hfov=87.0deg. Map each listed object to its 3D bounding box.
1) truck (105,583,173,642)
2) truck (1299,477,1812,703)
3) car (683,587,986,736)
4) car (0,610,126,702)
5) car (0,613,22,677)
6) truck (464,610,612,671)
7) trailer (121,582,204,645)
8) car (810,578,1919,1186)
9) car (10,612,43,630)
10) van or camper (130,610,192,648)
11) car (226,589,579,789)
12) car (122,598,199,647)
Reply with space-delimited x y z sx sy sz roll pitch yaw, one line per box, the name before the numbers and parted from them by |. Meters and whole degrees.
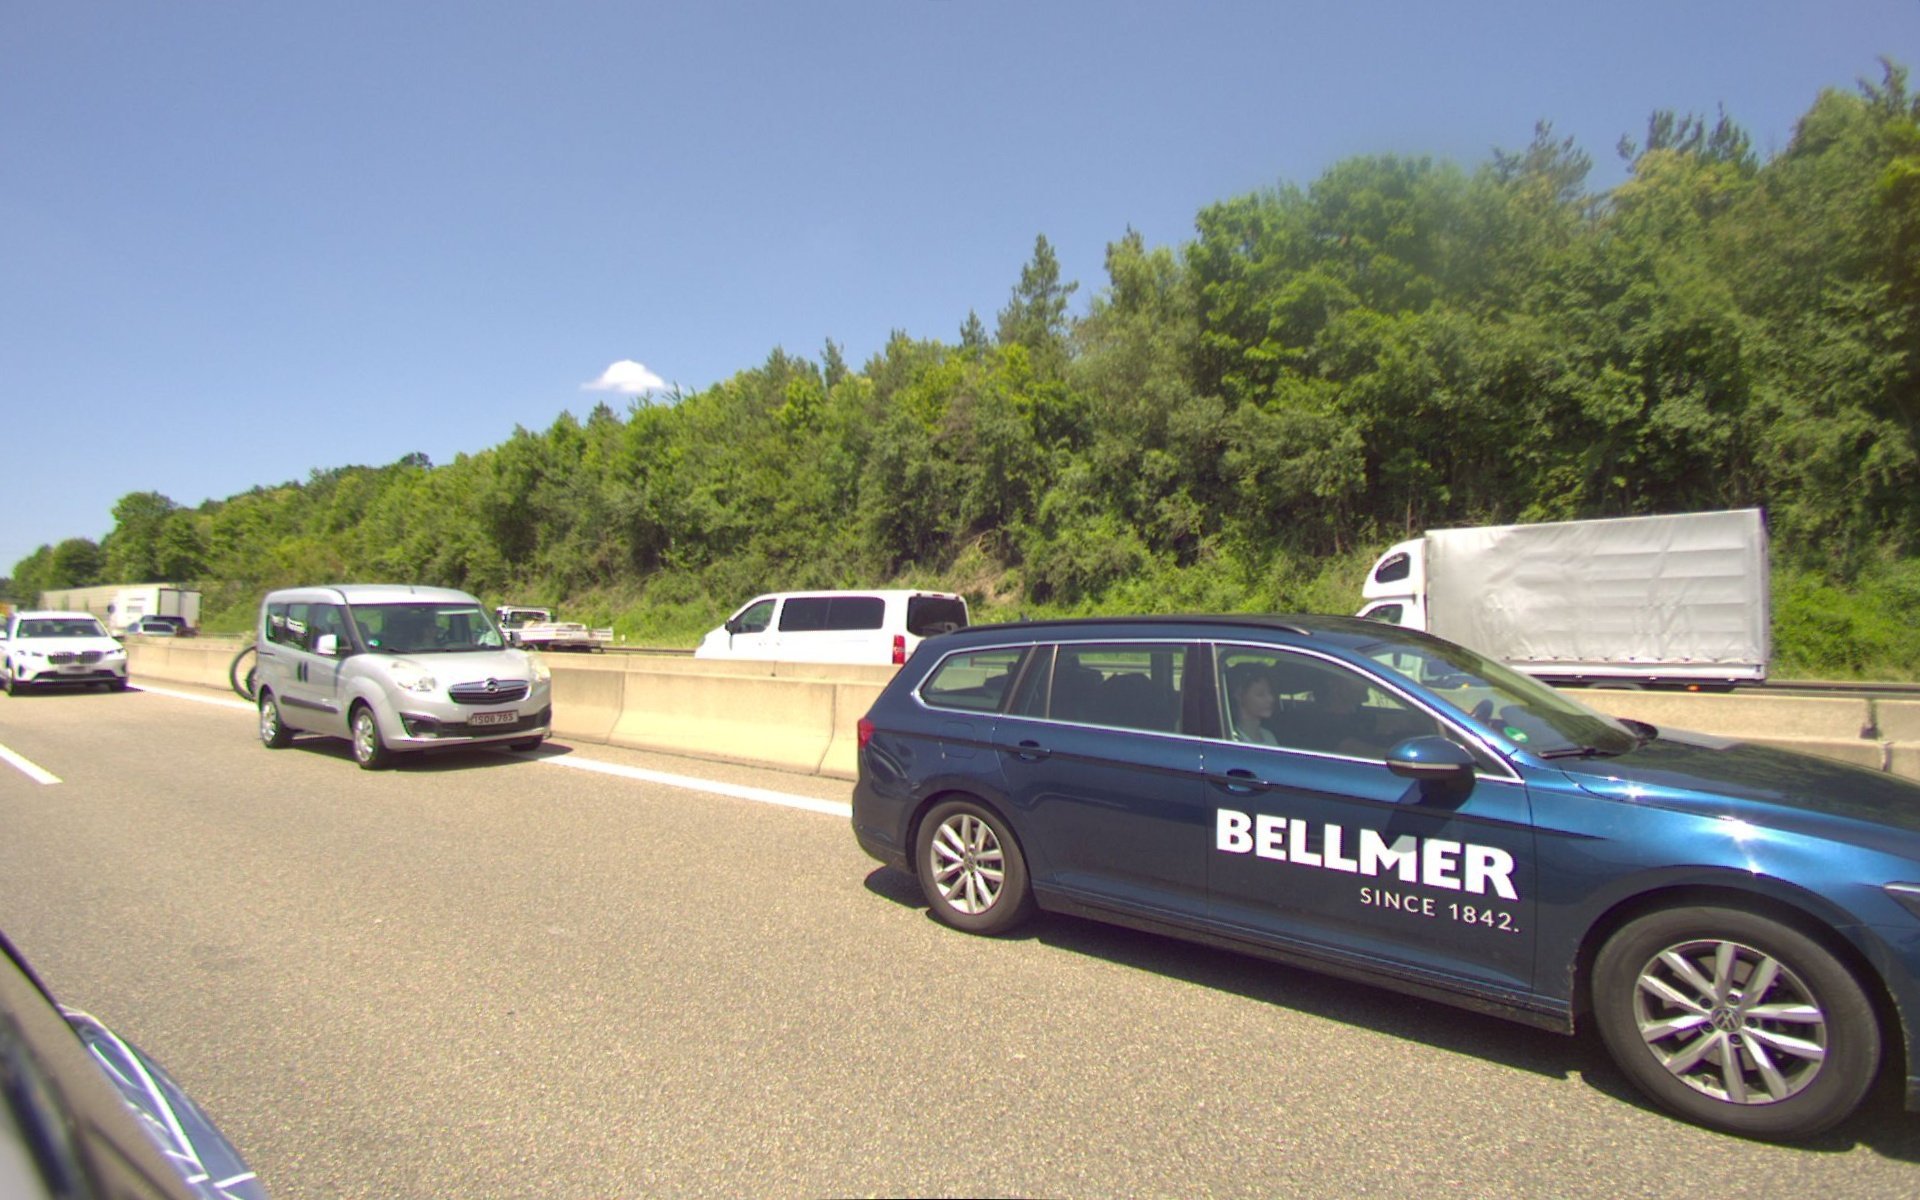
truck | -65.811 0.984 81.058 7.512 4.515 2.919 0 0 40
truck | 9.093 -0.124 16.062 6.737 2.906 2.156 0 0 40
car | -2.127 0.842 16.124 4.953 2.029 1.973 0 0 40
car | -19.077 1.087 21.222 3.998 1.719 1.801 0 0 41
car | -29.171 1.301 29.620 3.995 1.770 1.974 0 0 39
truck | -15.648 1.394 37.345 6.486 2.029 2.328 0 0 40
trailer | -60.320 0.976 76.386 10.810 4.515 2.919 0 0 41
car | 1.614 0.694 4.260 4.675 1.461 1.855 -1 -1 41
car | -108.492 2.403 117.621 4.472 2.029 2.093 0 0 38
van or camper | -44.933 1.582 56.863 4.927 2.029 1.972 0 0 42
car | -6.377 0.795 11.303 4.914 1.786 1.834 0 0 40
car | -34.829 0.944 44.055 3.998 2.029 1.973 0 0 41
